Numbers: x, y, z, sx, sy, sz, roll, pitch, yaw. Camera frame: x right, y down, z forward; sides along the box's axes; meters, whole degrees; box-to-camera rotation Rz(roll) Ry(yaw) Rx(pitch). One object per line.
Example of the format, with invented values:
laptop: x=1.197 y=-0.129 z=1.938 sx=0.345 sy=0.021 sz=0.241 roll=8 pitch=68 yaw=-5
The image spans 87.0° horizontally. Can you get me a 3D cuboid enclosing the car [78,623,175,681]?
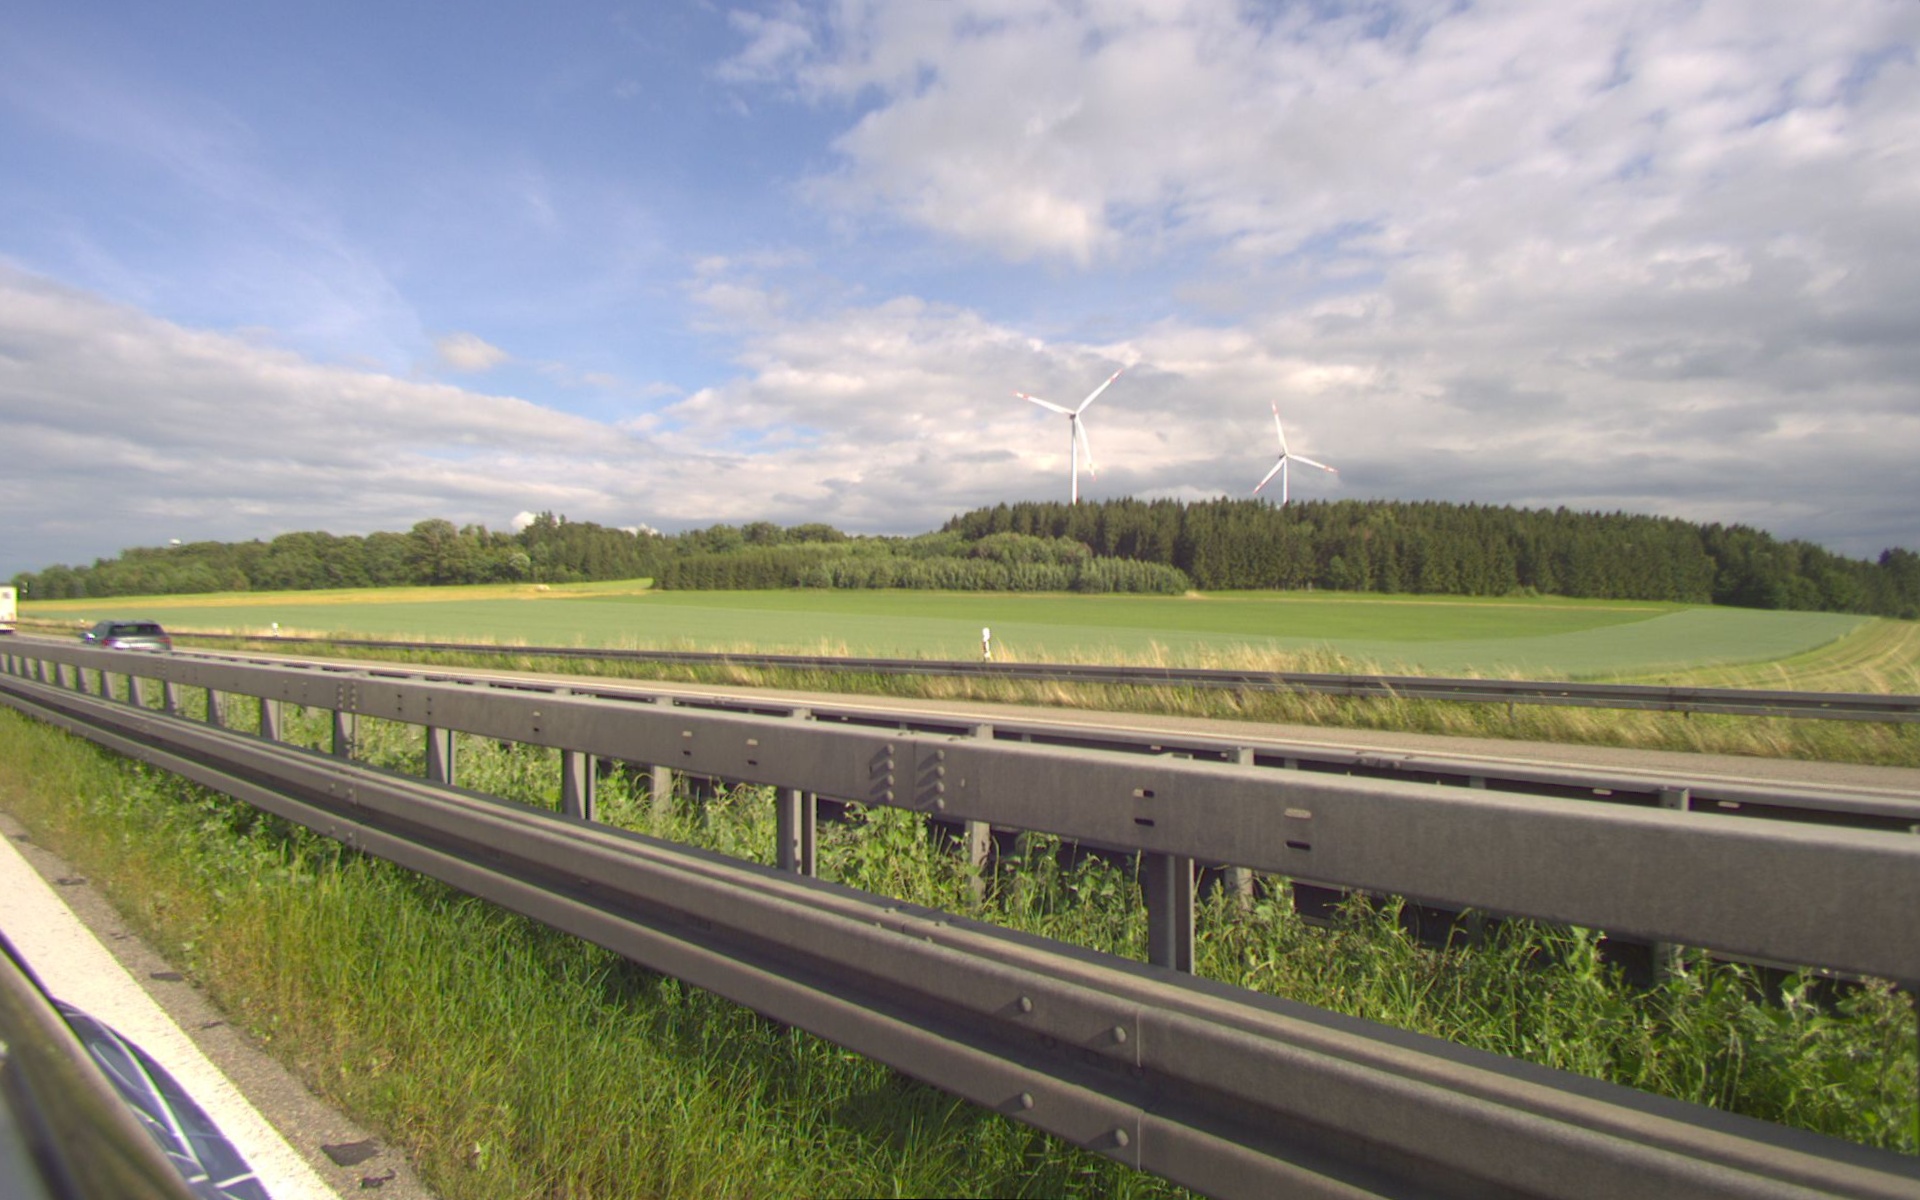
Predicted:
car: x=-25.570 y=1.526 z=31.012 sx=4.062 sy=1.597 sz=1.599 roll=0 pitch=0 yaw=40

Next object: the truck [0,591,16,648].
truck: x=-84.926 y=1.658 z=87.931 sx=13.415 sy=4.669 sz=2.850 roll=0 pitch=0 yaw=41
